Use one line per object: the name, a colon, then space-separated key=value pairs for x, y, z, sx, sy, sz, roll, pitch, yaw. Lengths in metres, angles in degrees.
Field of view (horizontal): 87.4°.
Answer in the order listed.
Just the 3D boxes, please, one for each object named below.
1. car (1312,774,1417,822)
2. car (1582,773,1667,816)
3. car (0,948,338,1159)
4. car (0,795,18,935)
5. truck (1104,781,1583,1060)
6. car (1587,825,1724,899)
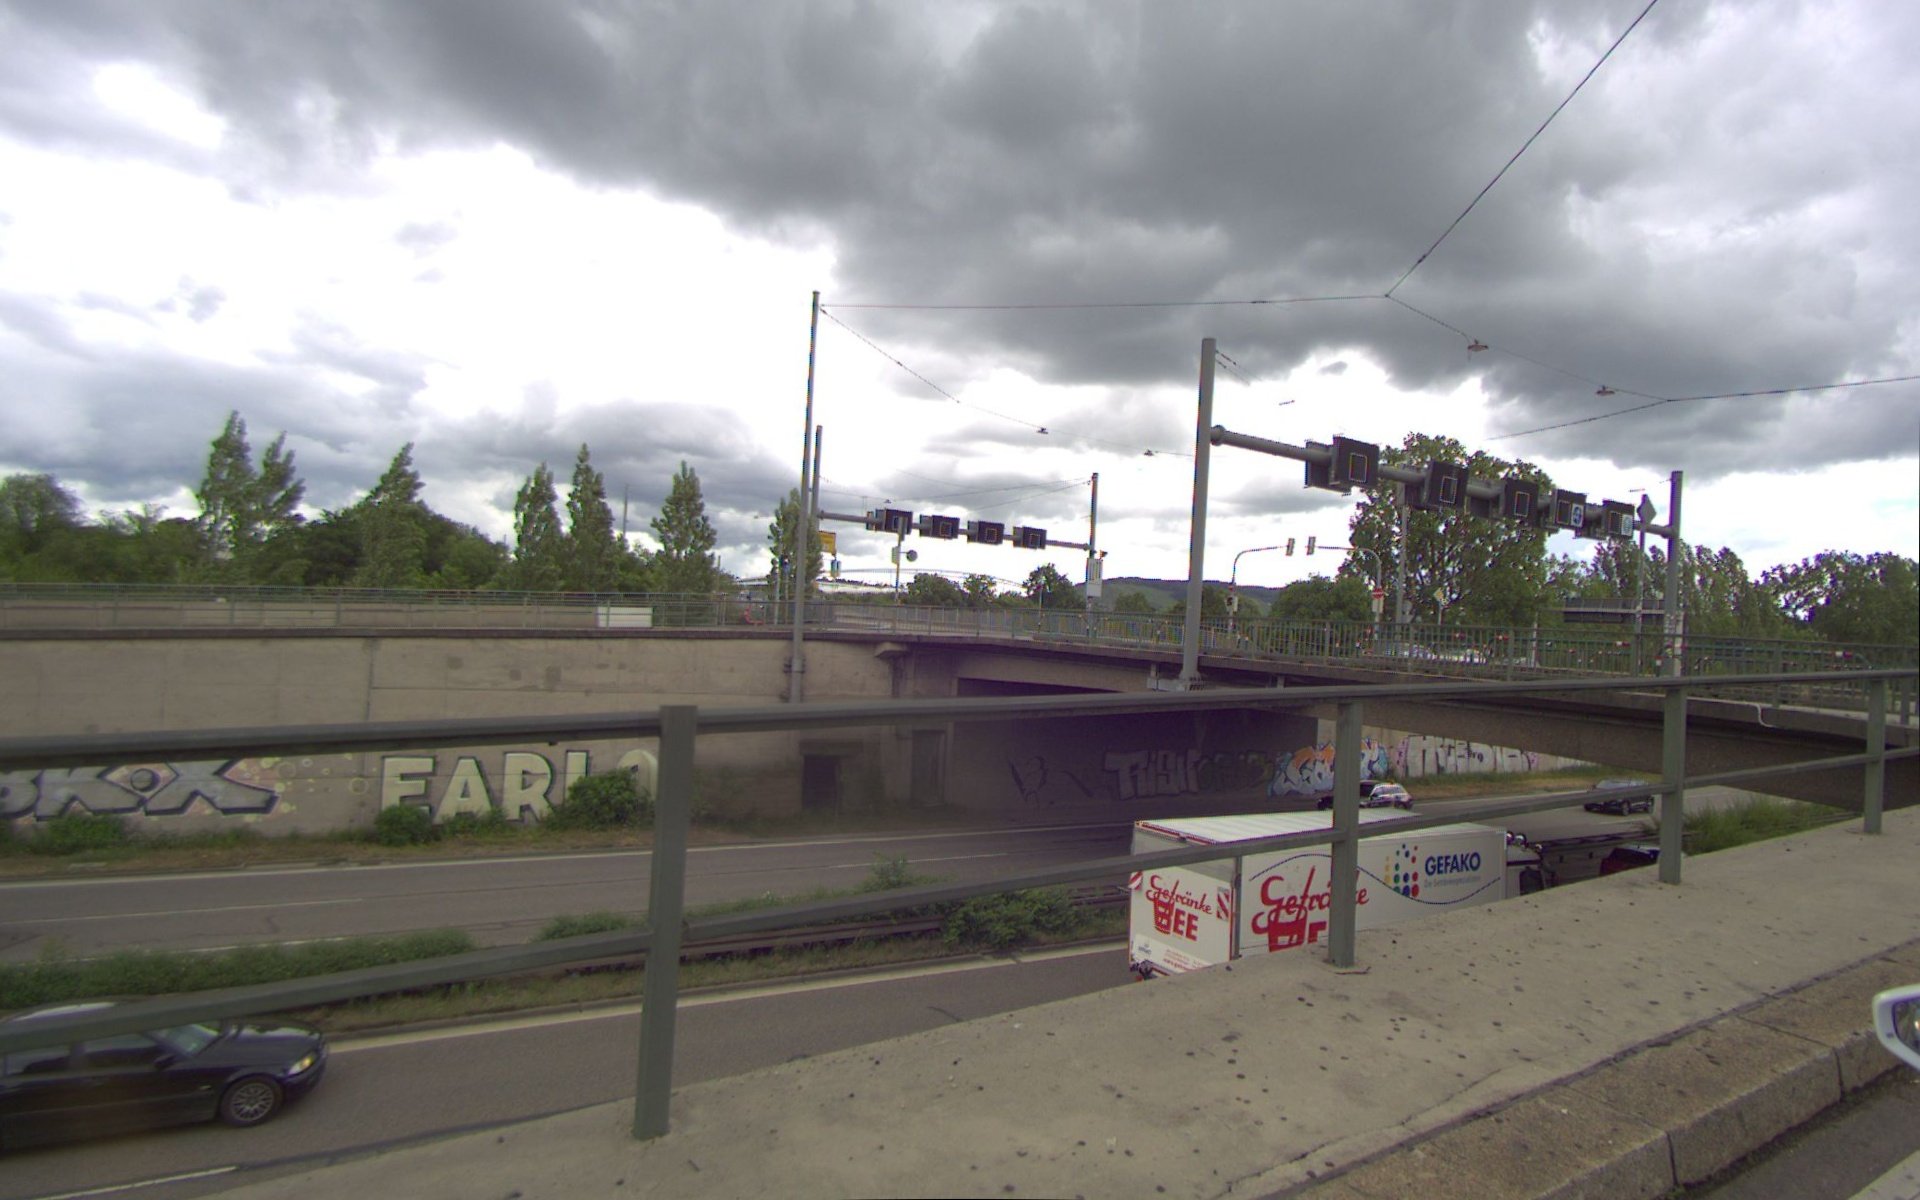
car: x=17.697 y=8.612 z=43.893 sx=4.581 sy=1.673 sz=1.851 roll=5 pitch=-3 yaw=-30
car: x=32.684 y=9.520 z=49.381 sx=4.134 sy=1.741 sz=1.873 roll=5 pitch=-3 yaw=-30
car: x=-10.427 y=5.577 z=12.504 sx=4.372 sy=1.484 sz=1.850 roll=5 pitch=-2 yaw=-29
car: x=-20.588 y=4.888 z=17.157 sx=6.032 sy=2.628 sz=2.157 roll=5 pitch=-3 yaw=-30
truck: x=7.479 y=5.483 z=18.821 sx=9.757 sy=3.570 sz=2.870 roll=4 pitch=-4 yaw=-30
car: x=21.676 y=8.091 z=31.284 sx=4.133 sy=1.599 sz=1.822 roll=4 pitch=-2 yaw=-29
